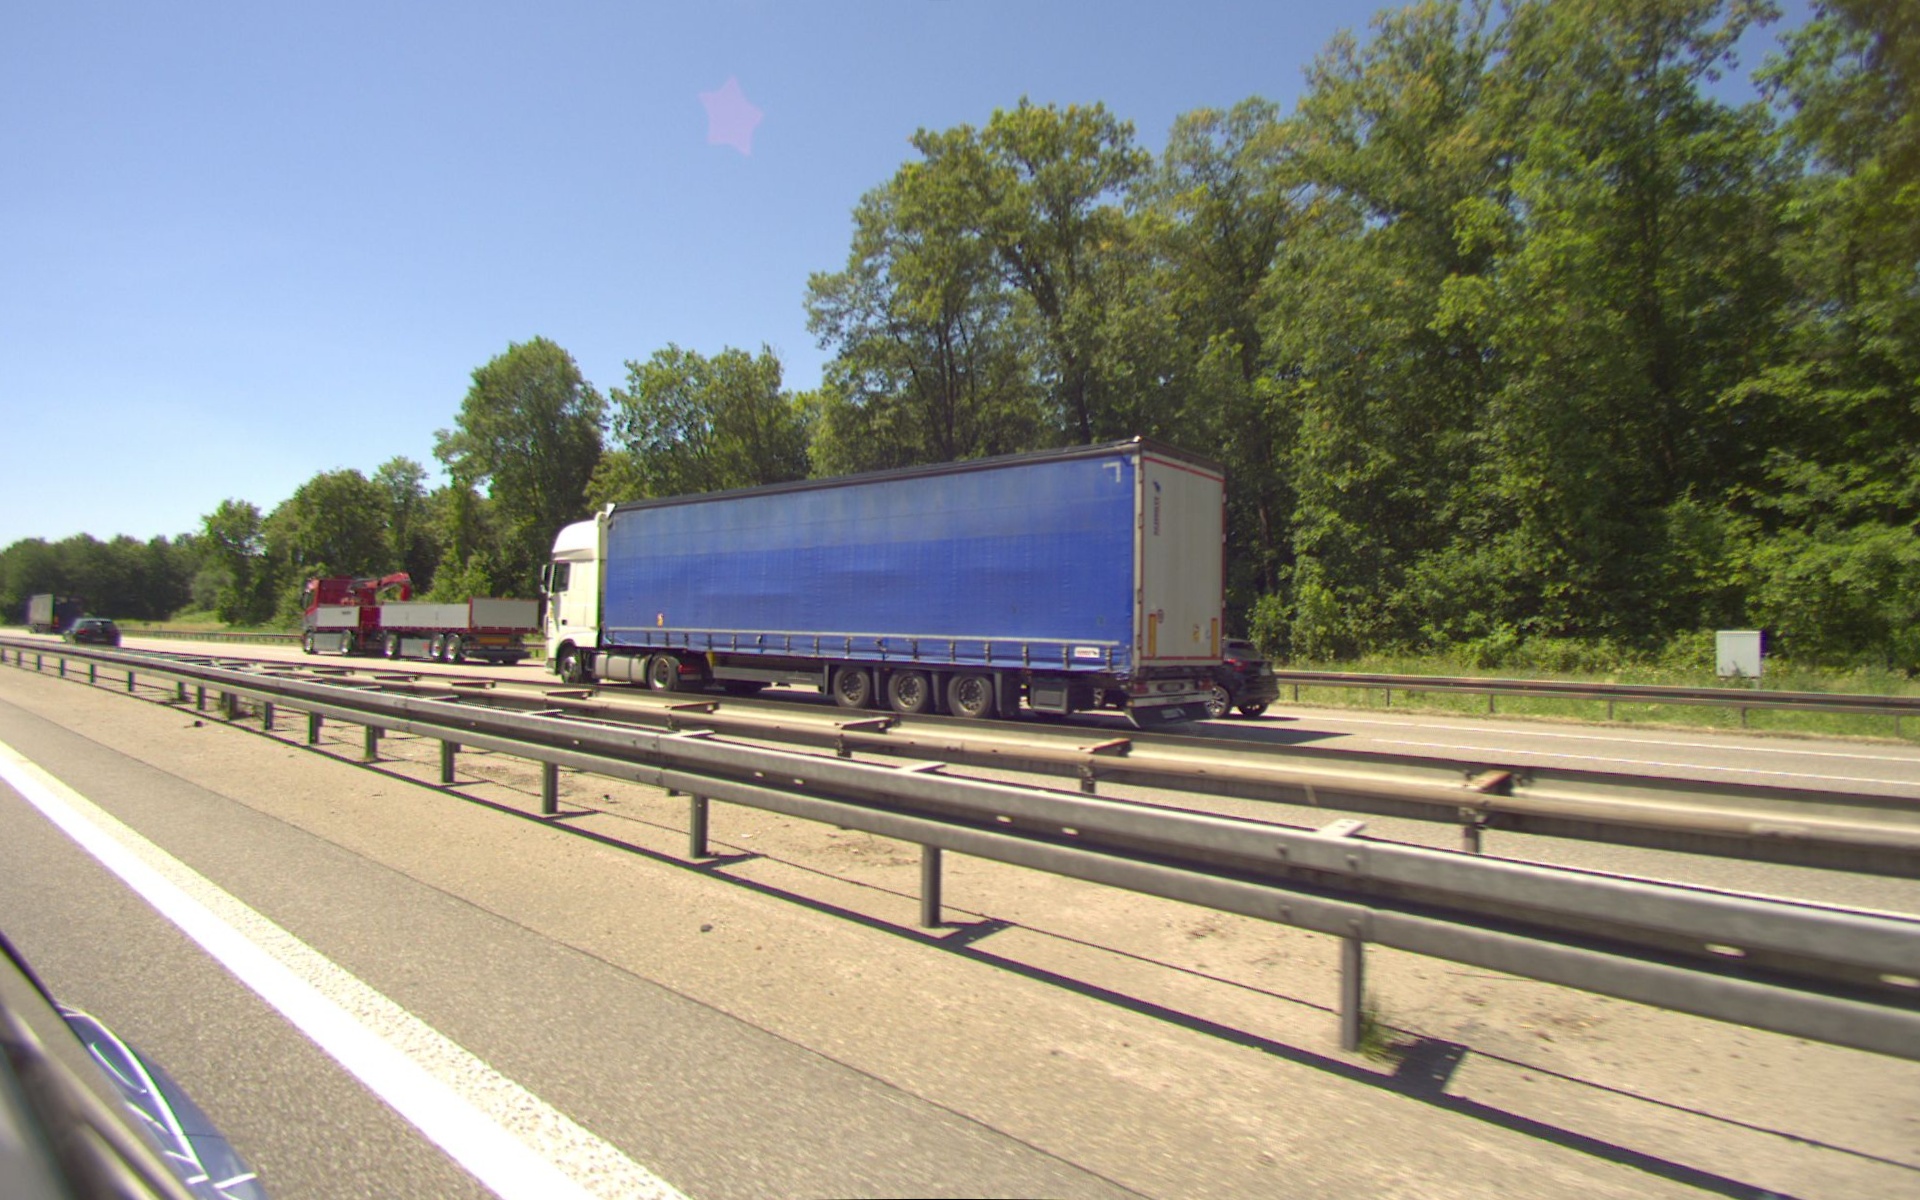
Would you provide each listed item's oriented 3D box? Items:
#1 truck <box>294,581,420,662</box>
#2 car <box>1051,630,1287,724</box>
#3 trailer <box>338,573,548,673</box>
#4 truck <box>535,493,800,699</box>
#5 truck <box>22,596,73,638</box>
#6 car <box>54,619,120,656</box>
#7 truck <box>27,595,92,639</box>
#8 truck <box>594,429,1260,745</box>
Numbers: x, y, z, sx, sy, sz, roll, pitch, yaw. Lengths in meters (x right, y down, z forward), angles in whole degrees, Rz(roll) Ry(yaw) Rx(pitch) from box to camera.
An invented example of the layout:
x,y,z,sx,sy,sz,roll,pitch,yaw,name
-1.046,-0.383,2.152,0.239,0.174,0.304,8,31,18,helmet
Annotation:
x,y,z,sx,sy,sz,roll,pitch,yaw,name
-27.626,0.936,46.189,7.658,3.419,2.720,-1,0,41,truck
3.857,1.354,19.045,4.009,1.547,1.805,-1,-2,43,car
-20.869,0.826,40.179,13.285,3.419,2.750,-1,0,42,trailer
-6.741,-0.067,22.932,6.037,4.049,2.956,-1,0,41,truck
-99.667,1.818,110.537,6.609,4.374,3.289,-1,0,41,truck
-41.792,1.757,48.409,4.667,1.603,1.788,-1,0,41,car
-94.521,1.762,106.074,13.902,4.374,3.289,-1,0,41,truck
-1.742,-0.122,18.622,13.928,4.049,2.956,-1,0,41,truck
